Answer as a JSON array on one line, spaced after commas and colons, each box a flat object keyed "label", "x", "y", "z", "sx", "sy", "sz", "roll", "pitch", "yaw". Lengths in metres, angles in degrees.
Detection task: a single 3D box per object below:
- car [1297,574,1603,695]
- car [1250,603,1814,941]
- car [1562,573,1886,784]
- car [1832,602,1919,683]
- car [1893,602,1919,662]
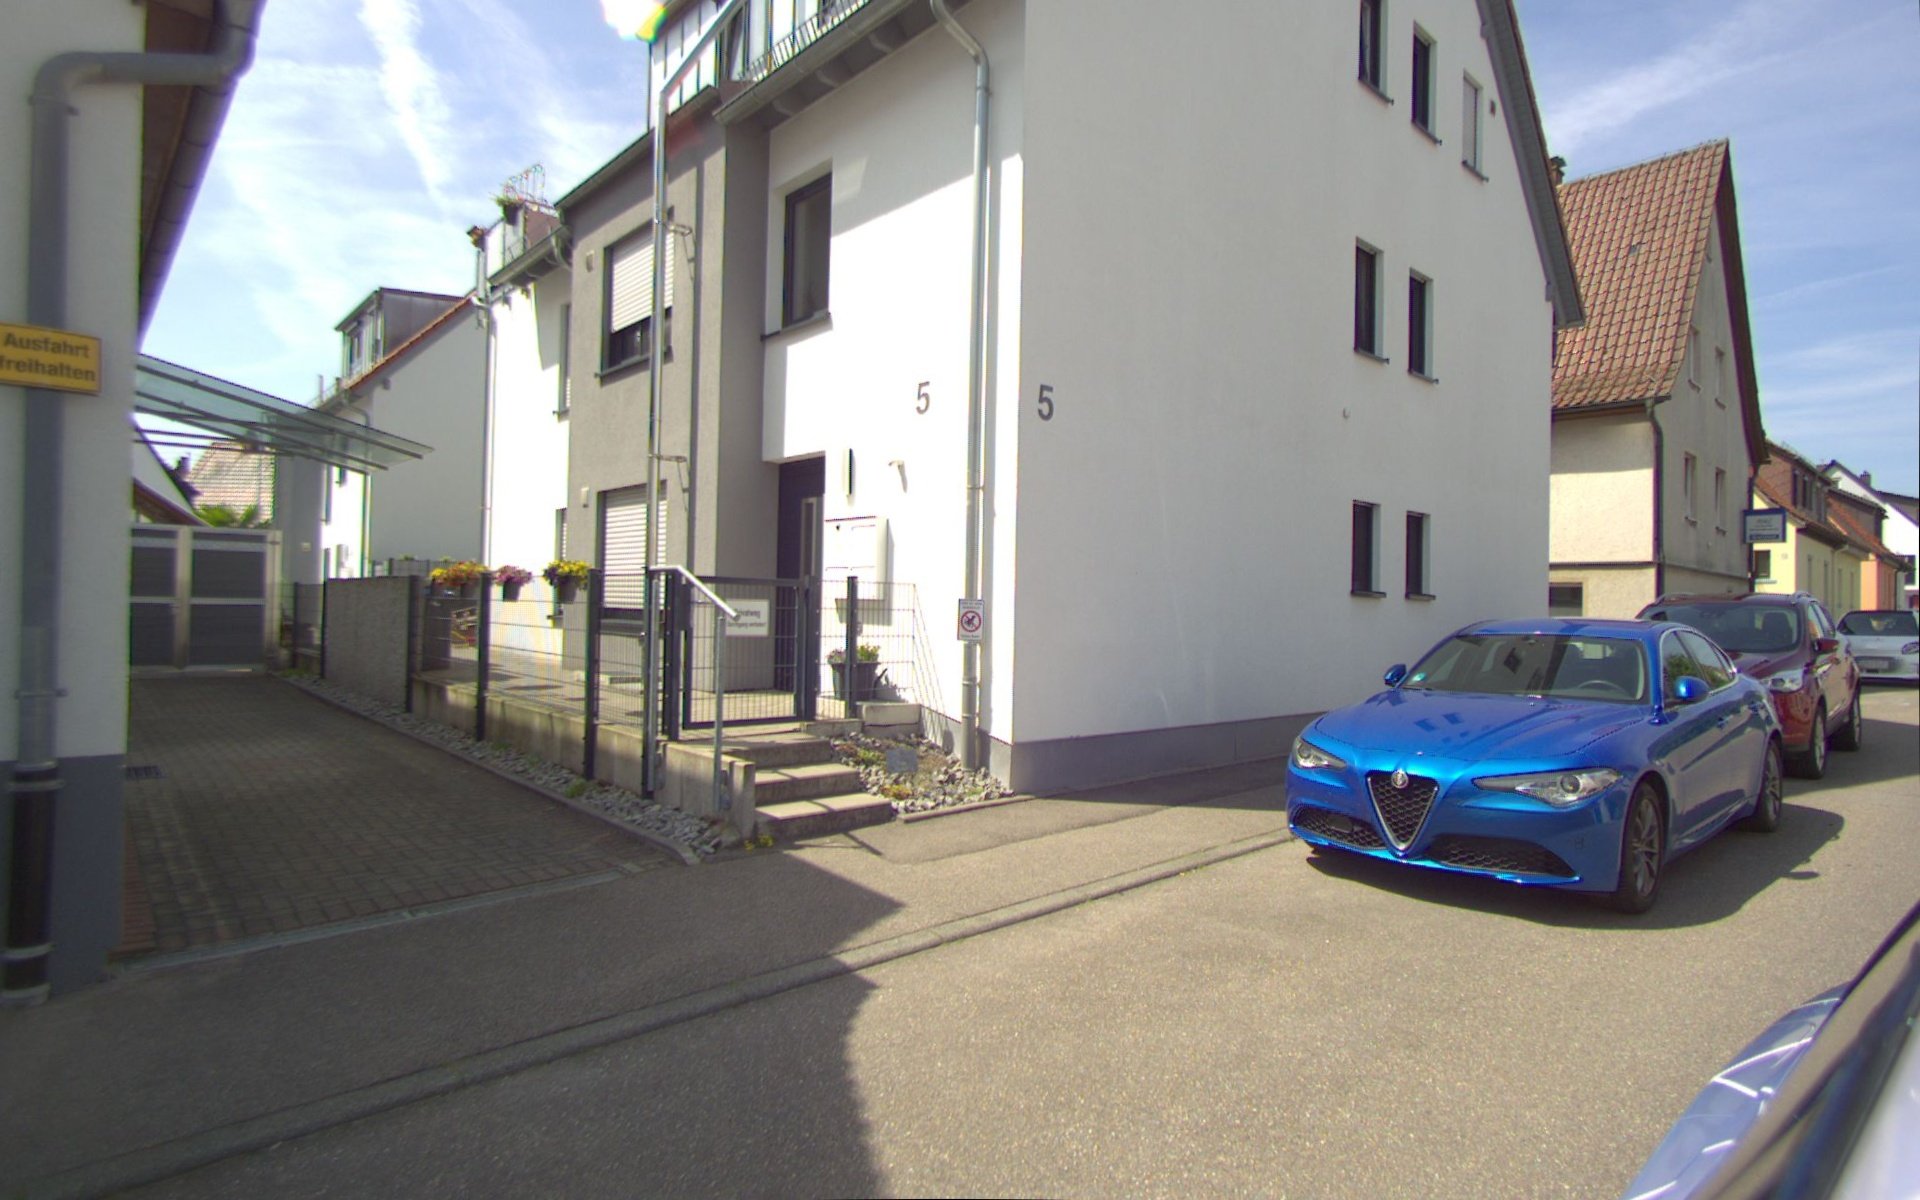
[{"label": "car", "x": 8.576, "y": 0.547, "z": 17.998, "sx": 1.967, "sy": 1.866, "sz": 4.518, "roll": 1, "pitch": -1, "yaw": -44}, {"label": "car", "x": 3.895, "y": 0.746, "z": 6.498, "sx": 4.511, "sy": 1.442, "sz": 1.766, "roll": 0, "pitch": -1, "yaw": -41}, {"label": "car", "x": 7.936, "y": 0.663, "z": 10.377, "sx": 4.111, "sy": 1.722, "sz": 1.878, "roll": 1, "pitch": -1, "yaw": -42}, {"label": "car", "x": 19.412, "y": 0.827, "z": 21.017, "sx": 2.989, "sy": 1.579, "sz": 1.675, "roll": 0, "pitch": -1, "yaw": -43}, {"label": "car", "x": 27.683, "y": 0.873, "z": 28.471, "sx": 4.180, "sy": 1.620, "sz": 1.731, "roll": 1, "pitch": -1, "yaw": -42}]
